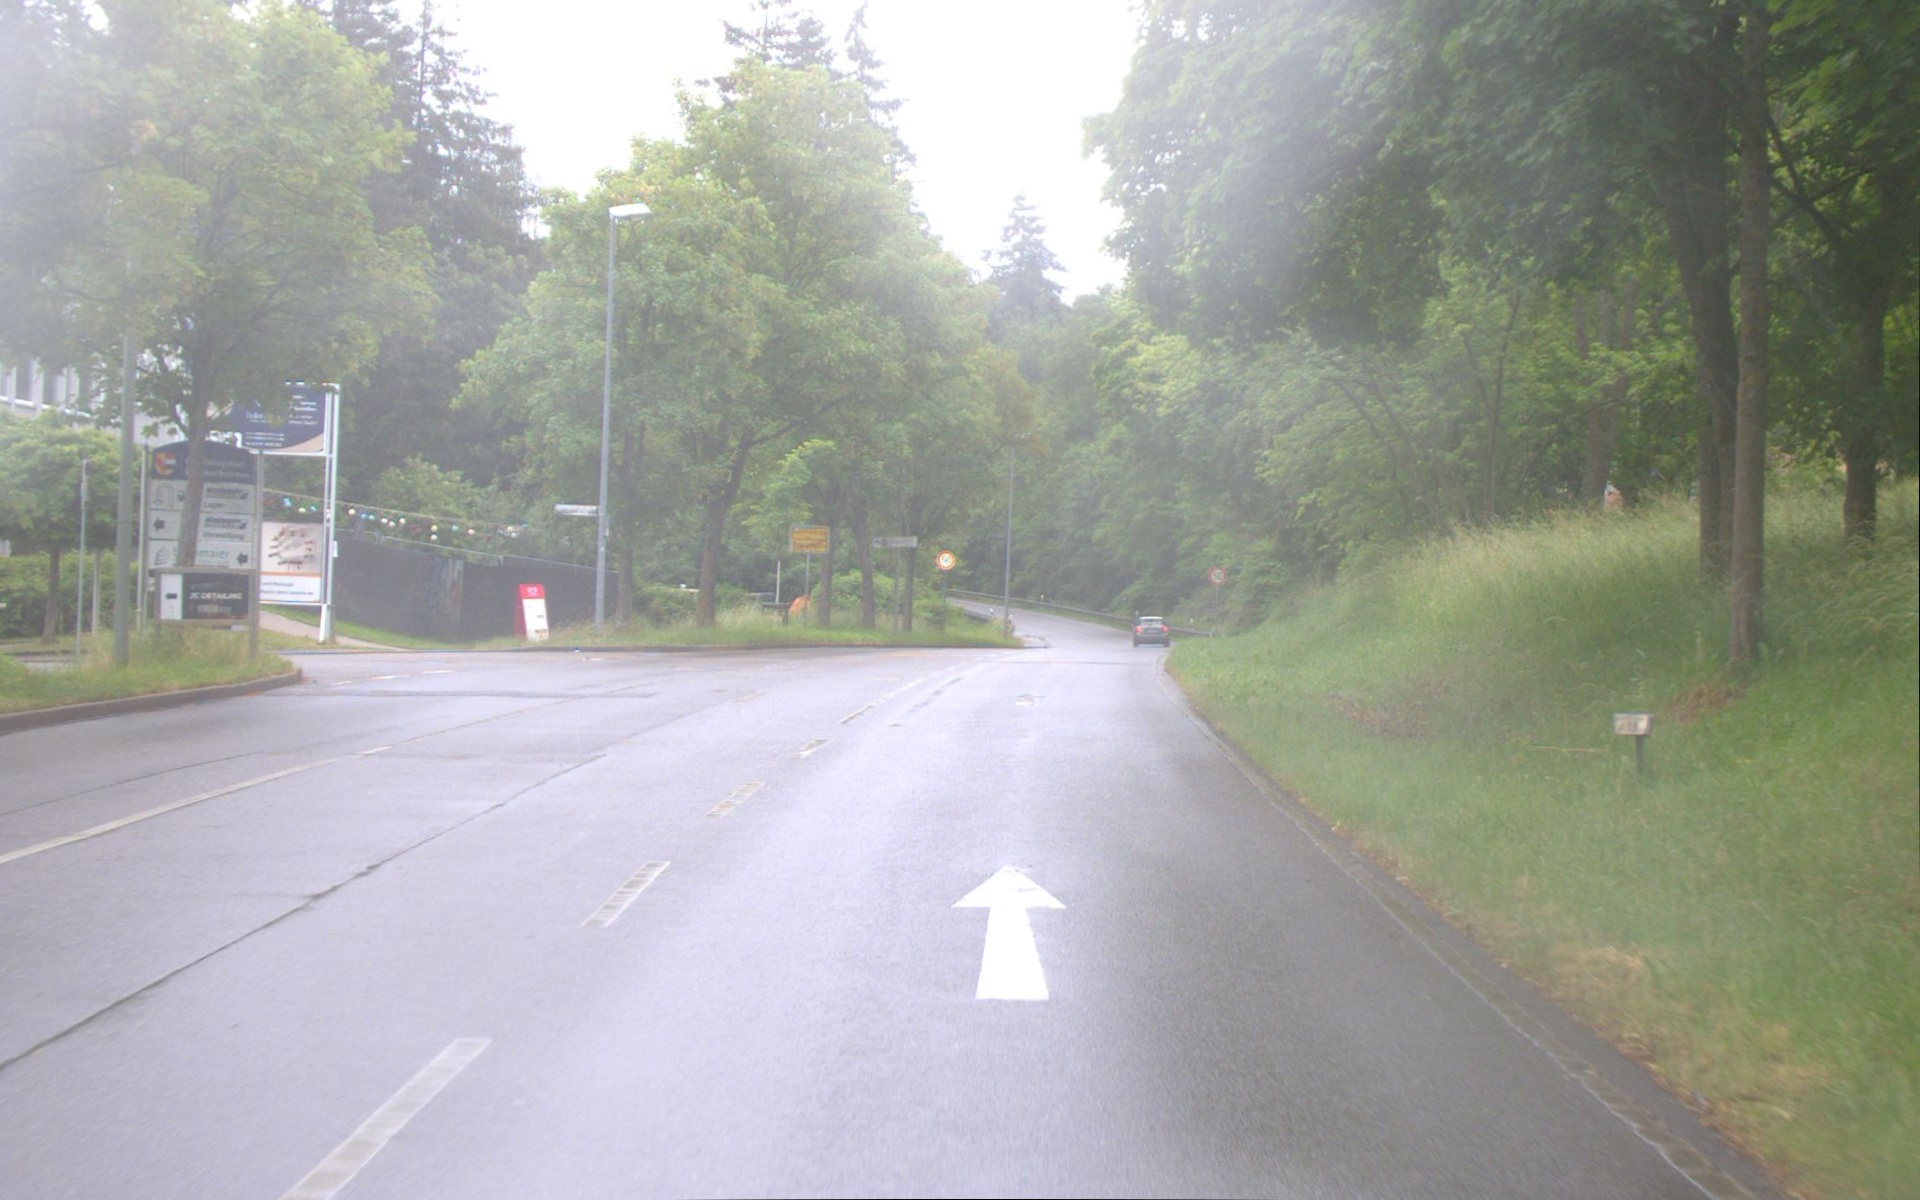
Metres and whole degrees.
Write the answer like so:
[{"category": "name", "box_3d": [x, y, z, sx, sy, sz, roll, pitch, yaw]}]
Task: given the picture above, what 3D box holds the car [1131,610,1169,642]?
[{"category": "car", "box_3d": [9.142, 1.235, 165.599, 1.737, 1.505, 4.000, 0, 0, 2]}]
